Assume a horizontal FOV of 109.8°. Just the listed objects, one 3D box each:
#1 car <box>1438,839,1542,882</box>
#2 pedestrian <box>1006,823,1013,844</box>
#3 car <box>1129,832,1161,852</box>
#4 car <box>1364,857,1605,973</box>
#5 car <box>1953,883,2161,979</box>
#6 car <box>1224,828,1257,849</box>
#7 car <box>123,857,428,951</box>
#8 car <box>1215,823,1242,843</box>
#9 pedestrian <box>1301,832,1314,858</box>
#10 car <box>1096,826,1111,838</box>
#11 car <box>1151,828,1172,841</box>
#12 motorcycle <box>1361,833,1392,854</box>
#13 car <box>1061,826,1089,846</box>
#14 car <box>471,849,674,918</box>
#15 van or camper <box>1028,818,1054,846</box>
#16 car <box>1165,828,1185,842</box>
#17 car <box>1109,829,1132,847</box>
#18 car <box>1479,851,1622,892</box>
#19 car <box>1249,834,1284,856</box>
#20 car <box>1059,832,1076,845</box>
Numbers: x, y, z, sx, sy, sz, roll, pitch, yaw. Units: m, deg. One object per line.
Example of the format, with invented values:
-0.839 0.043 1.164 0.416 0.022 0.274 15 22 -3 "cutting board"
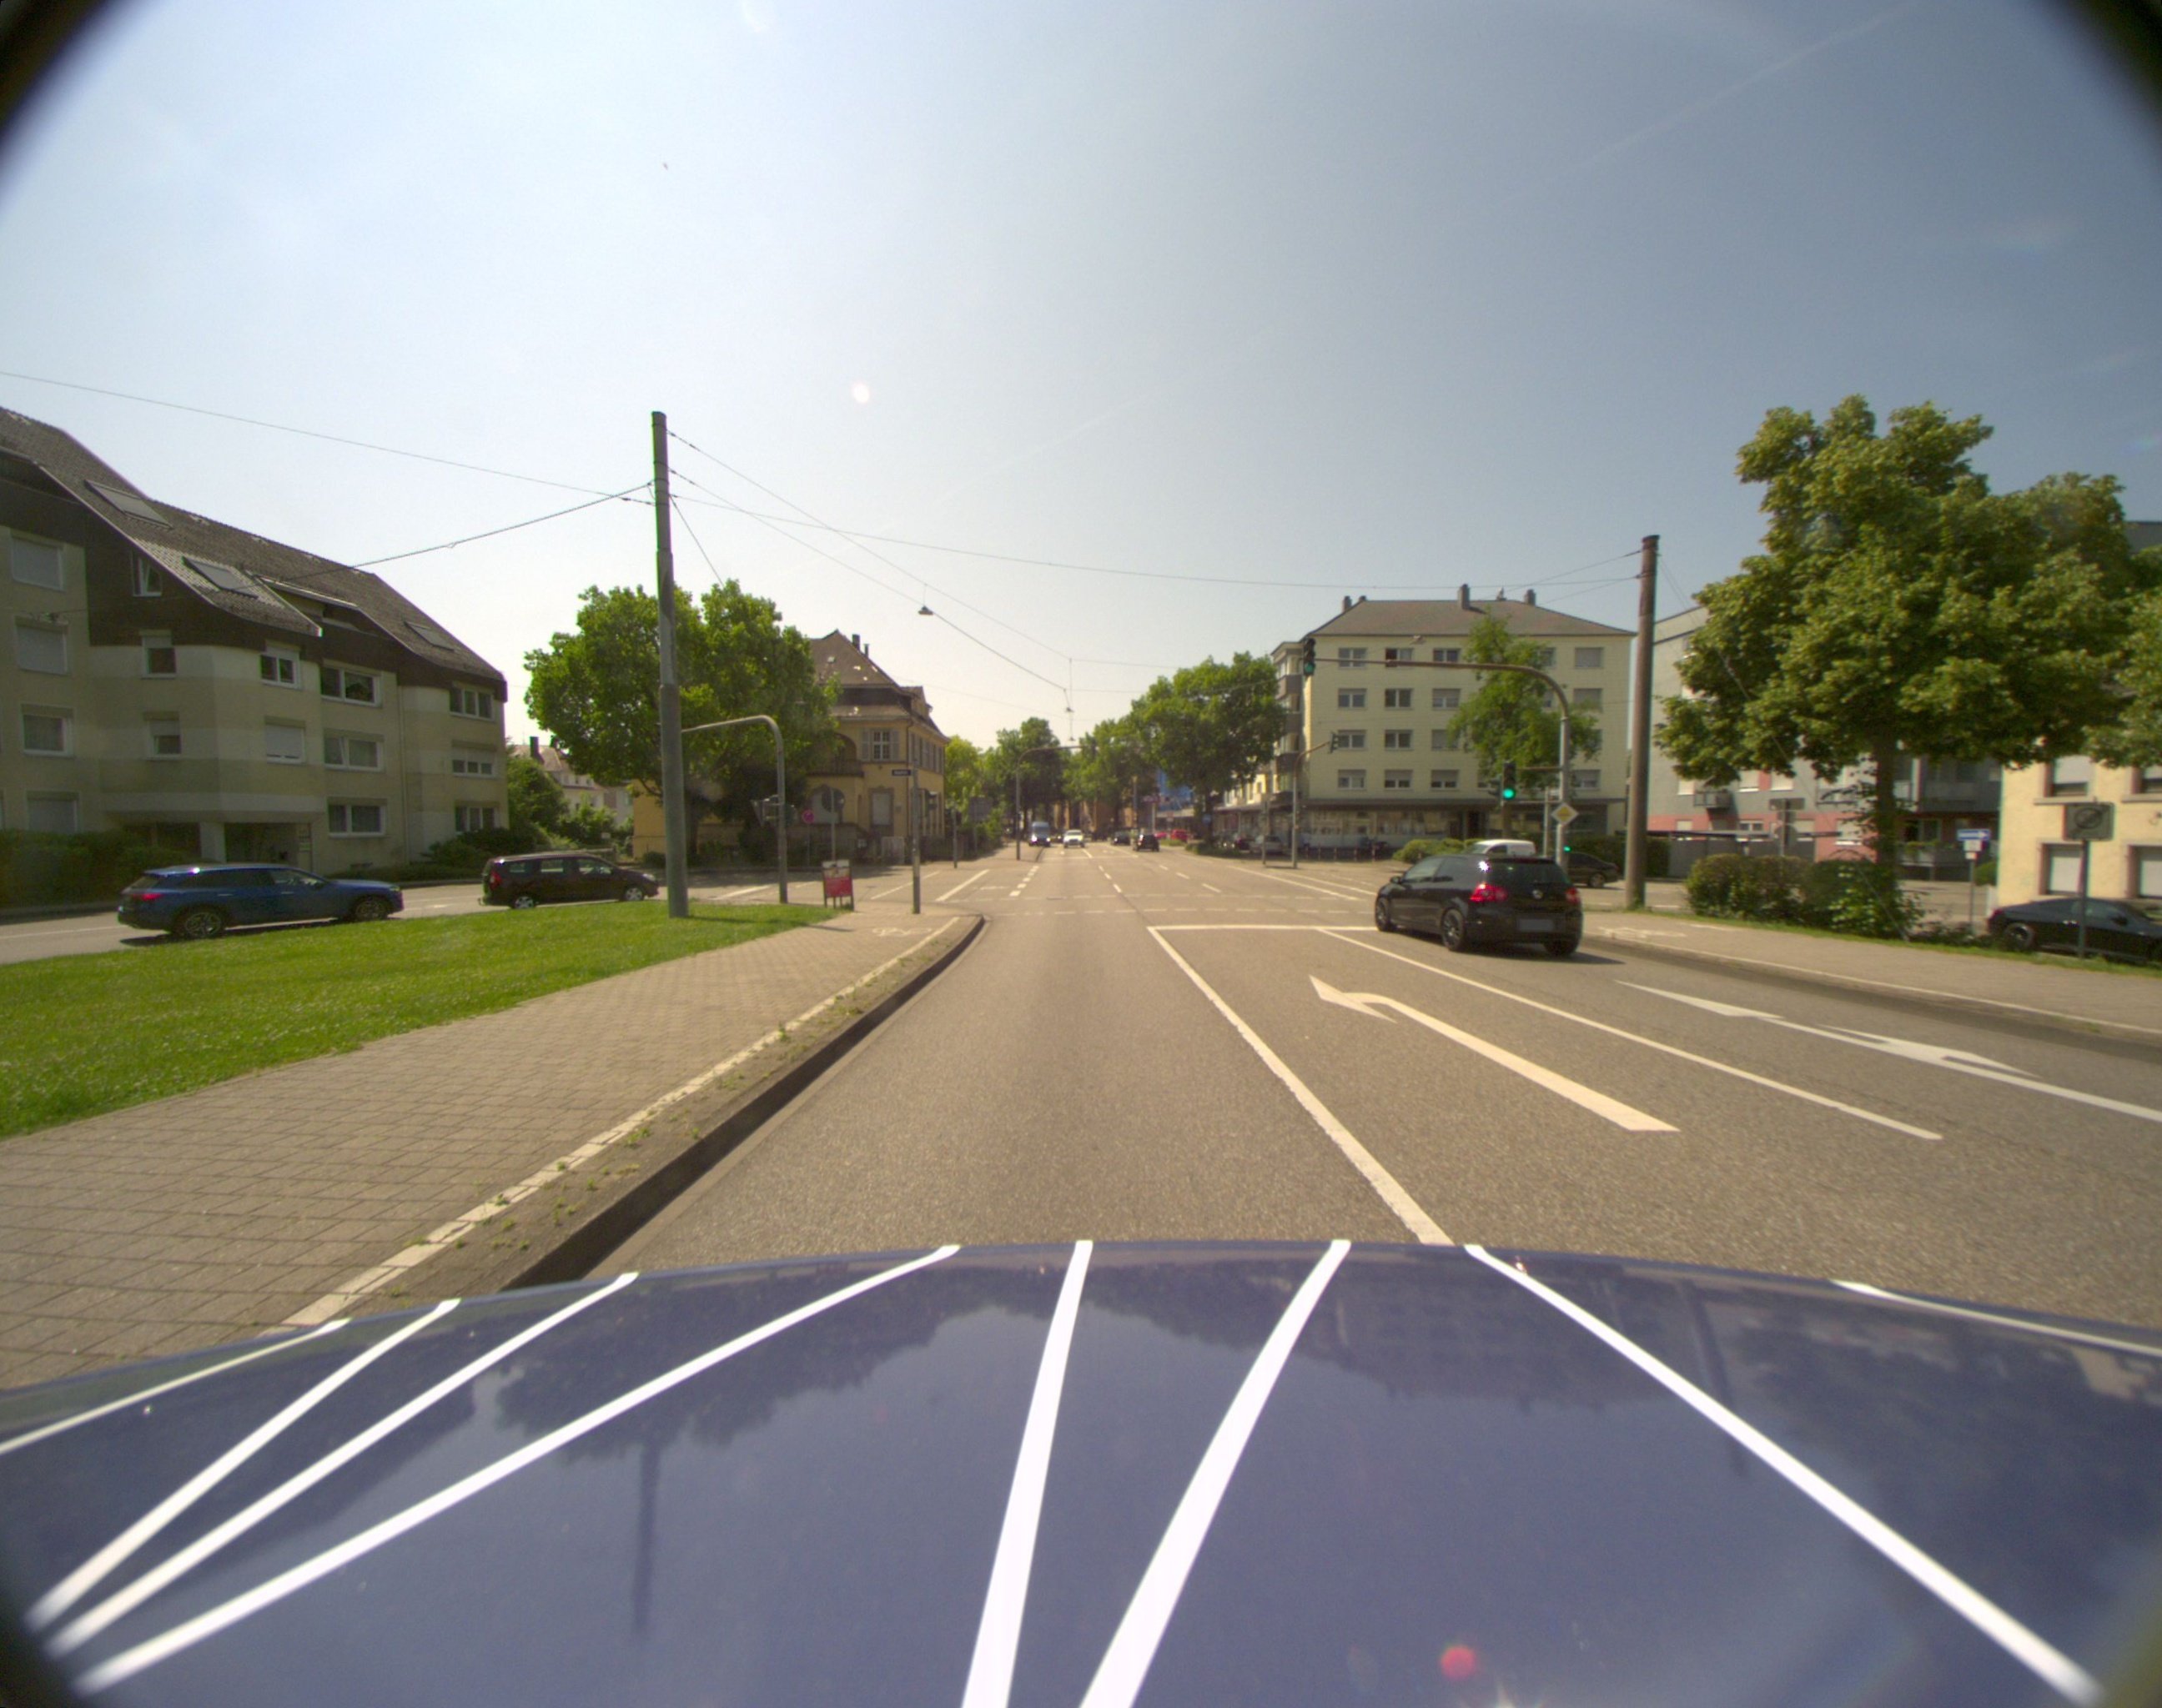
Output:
18.712 0.283 34.890 3.696 1.726 1.892 2 3 -3 "car"
-6.591 -1.855 69.881 0.621 1.908 0.743 0 3 -2 "pedestrian"
5.027 -0.953 59.778 1.842 1.391 4.046 1 2 -5 "car"
6.219 0.832 12.316 1.718 1.477 4.030 1 1 0 "car"
23.424 1.723 17.092 1.818 1.620 5.286 2 3 6 "car"
13.378 -1.342 63.906 1.626 1.560 4.836 0 3 -1 "car"
-19.747 1.099 18.946 1.994 1.692 4.775 2 4 29 "car"
13.543 -1.949 69.768 1.643 1.829 3.857 -1 2 -1 "car"
15.521 -0.653 52.090 0.628 1.751 0.742 0 4 -1 "pedestrian"
2.831 -2.837 97.209 1.620 1.447 3.707 1 2 -3 "car"
9.761 -2.440 92.502 1.913 1.511 4.330 0 2 -4 "car"
20.607 -0.718 53.014 1.919 1.413 0.714 -1 5 0 "motorcycle"
-0.603 -1.757 71.879 2.000 1.740 4.440 -2 3 -8 "car"
-15.408 0.804 23.206 4.827 1.623 1.912 -4 5 -42 "car"
-4.057 -2.275 76.538 2.165 2.568 5.838 -1 3 -7 "van or camper"
10.075 -2.084 81.741 1.639 1.460 3.632 0 3 -1 "car"
4.029 -1.648 78.149 1.760 1.552 4.313 1 4 -3 "car"
19.370 0.710 31.476 4.618 1.393 2.115 2 3 -5 "car"
13.619 -0.677 55.984 1.586 1.451 3.937 0 3 -1 "car"
-1.664 -1.867 90.736 1.736 1.398 4.330 -2 3 -5 "car"
